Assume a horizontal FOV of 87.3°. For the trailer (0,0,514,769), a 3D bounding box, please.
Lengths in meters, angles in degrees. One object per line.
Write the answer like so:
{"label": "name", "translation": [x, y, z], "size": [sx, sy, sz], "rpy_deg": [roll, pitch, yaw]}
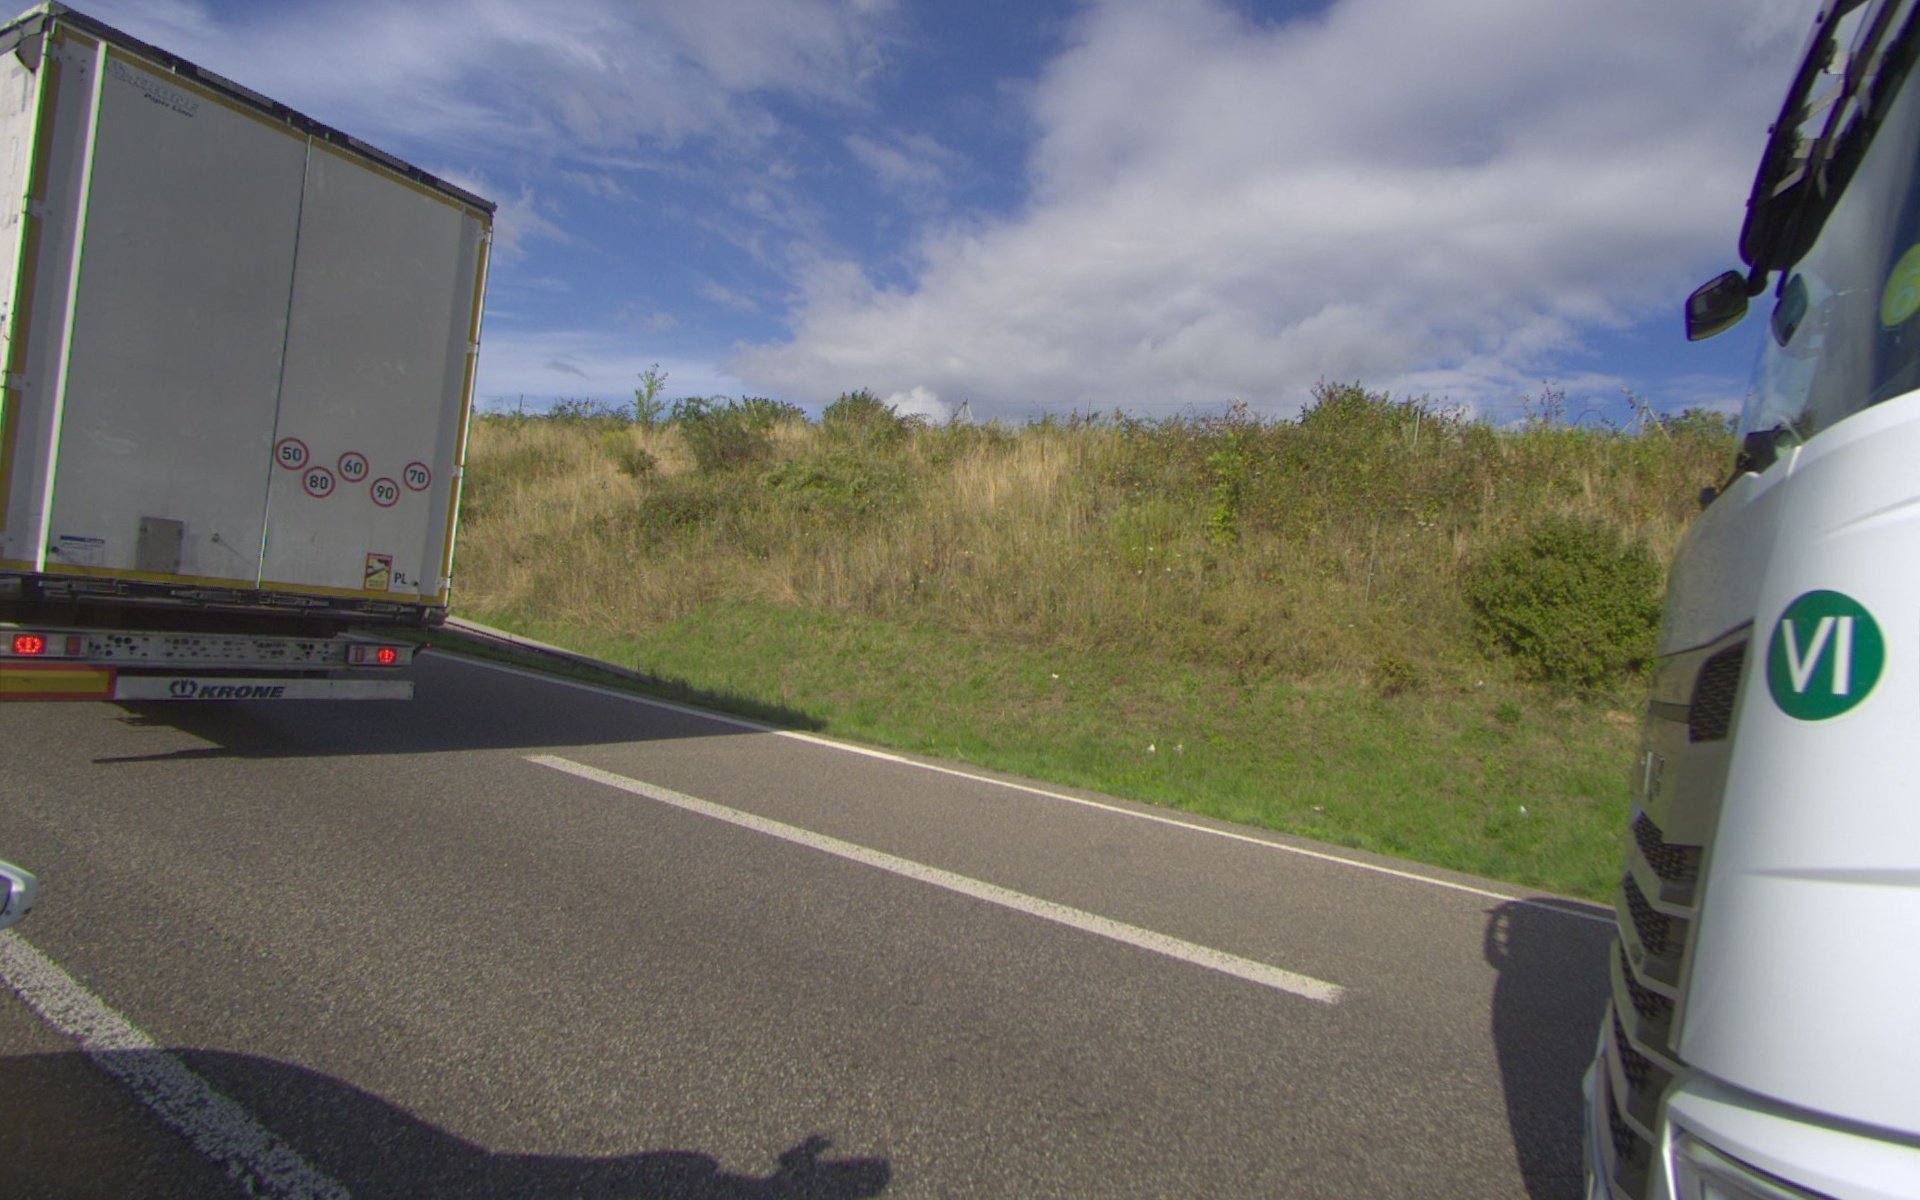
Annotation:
{"label": "trailer", "translation": [-9.530, -1.724, 9.474], "size": [12.729, 4.131, 2.706], "rpy_deg": [7, 0, 32]}

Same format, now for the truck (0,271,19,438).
{"label": "truck", "translation": [-15.405, -2.435, 13.138], "size": [6.256, 4.108, 2.712], "rpy_deg": [6, -1, 32]}

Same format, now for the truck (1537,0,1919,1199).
{"label": "truck", "translation": [4.575, 0.118, 0.714], "size": [6.880, 3.914, 2.651], "rpy_deg": [6, -1, 32]}
